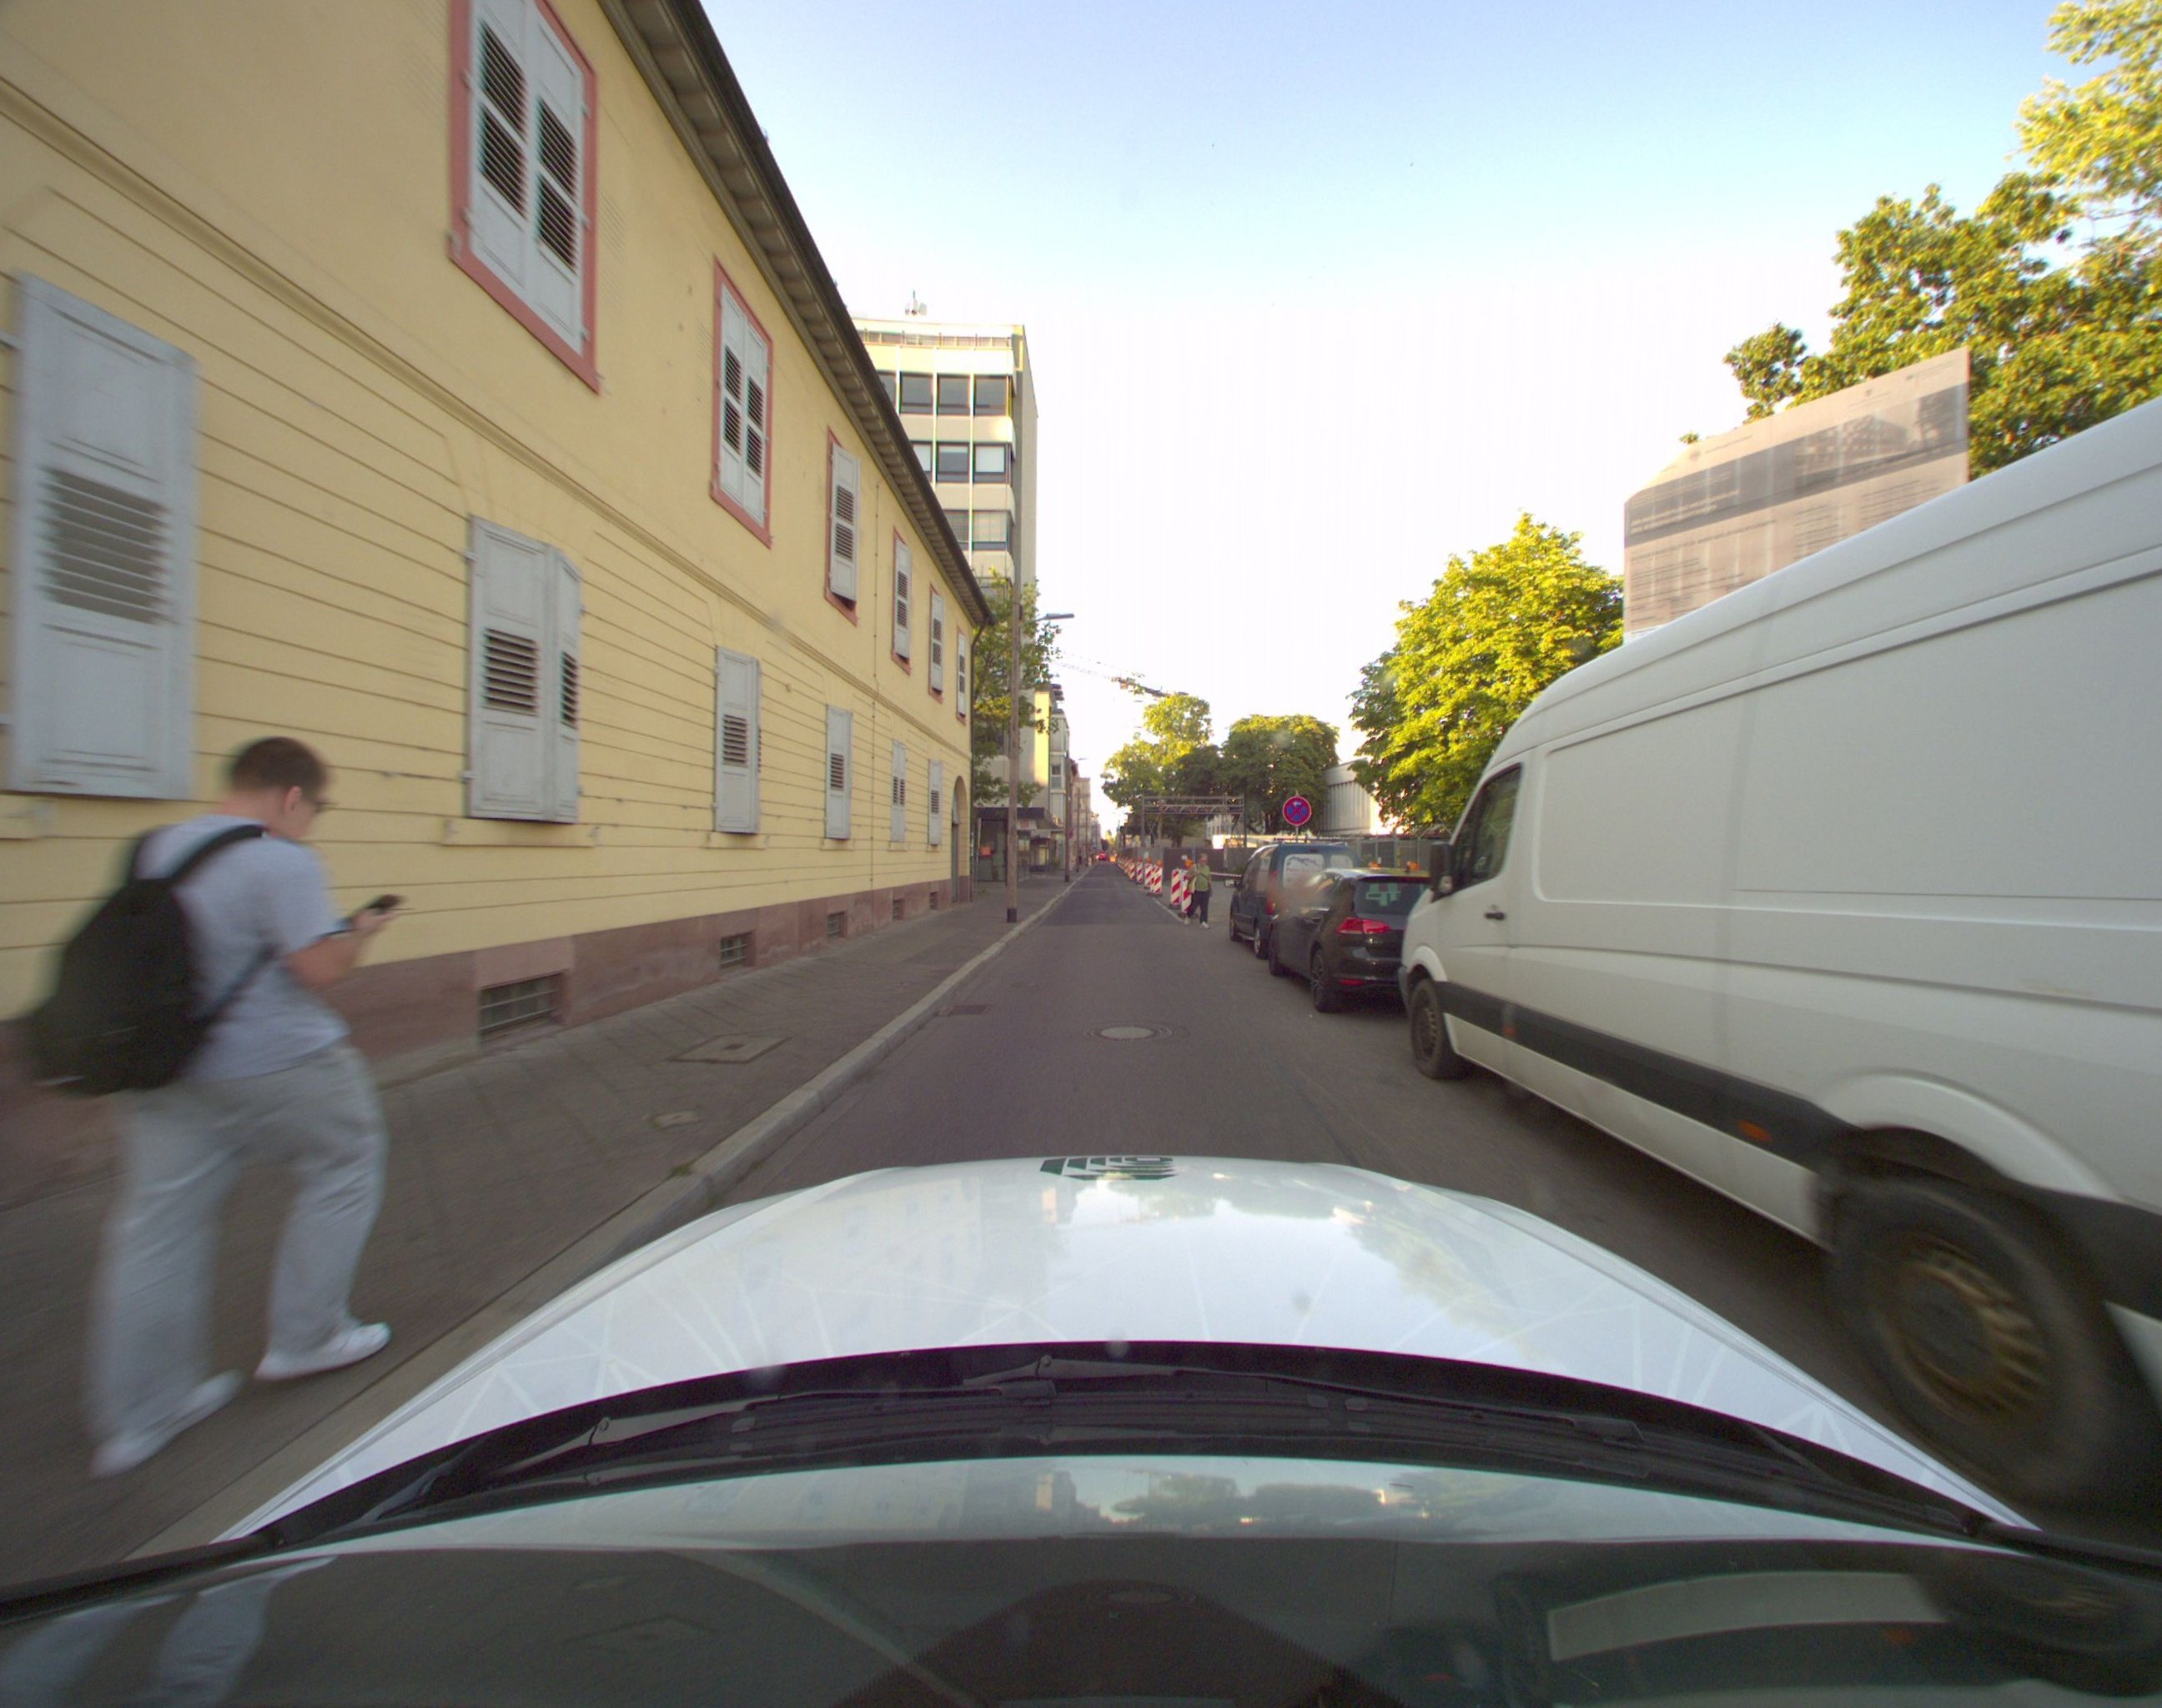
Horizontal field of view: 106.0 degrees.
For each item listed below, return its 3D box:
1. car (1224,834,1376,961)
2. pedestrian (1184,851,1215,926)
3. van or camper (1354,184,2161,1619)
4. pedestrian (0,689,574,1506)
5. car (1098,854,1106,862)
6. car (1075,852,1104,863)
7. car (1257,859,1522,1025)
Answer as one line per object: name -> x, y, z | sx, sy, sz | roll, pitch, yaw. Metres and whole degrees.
car -> 3.577, 0.648, 14.027 | 1.706, 1.849, 4.025 | 1, 0, 3
pedestrian -> 2.635, 0.753, 18.197 | 0.610, 1.629, 0.819 | 1, 0, 4
van or camper -> 3.266, 0.114, 3.956 | 2.068, 2.775, 6.455 | 0, -1, 3
pedestrian -> -2.079, 0.506, 2.172 | 0.872, 1.724, 0.831 | 1, 0, 5
car -> 4.660, 0.912, 178.781 | 1.852, 1.662, 4.001 | 1, 0, 2
car -> 1.126, 0.429, 107.475 | 3.732, 1.459, 1.697 | 0, -1, -1
car -> 3.236, 0.807, 9.432 | 1.685, 1.459, 4.101 | 1, 0, 3
